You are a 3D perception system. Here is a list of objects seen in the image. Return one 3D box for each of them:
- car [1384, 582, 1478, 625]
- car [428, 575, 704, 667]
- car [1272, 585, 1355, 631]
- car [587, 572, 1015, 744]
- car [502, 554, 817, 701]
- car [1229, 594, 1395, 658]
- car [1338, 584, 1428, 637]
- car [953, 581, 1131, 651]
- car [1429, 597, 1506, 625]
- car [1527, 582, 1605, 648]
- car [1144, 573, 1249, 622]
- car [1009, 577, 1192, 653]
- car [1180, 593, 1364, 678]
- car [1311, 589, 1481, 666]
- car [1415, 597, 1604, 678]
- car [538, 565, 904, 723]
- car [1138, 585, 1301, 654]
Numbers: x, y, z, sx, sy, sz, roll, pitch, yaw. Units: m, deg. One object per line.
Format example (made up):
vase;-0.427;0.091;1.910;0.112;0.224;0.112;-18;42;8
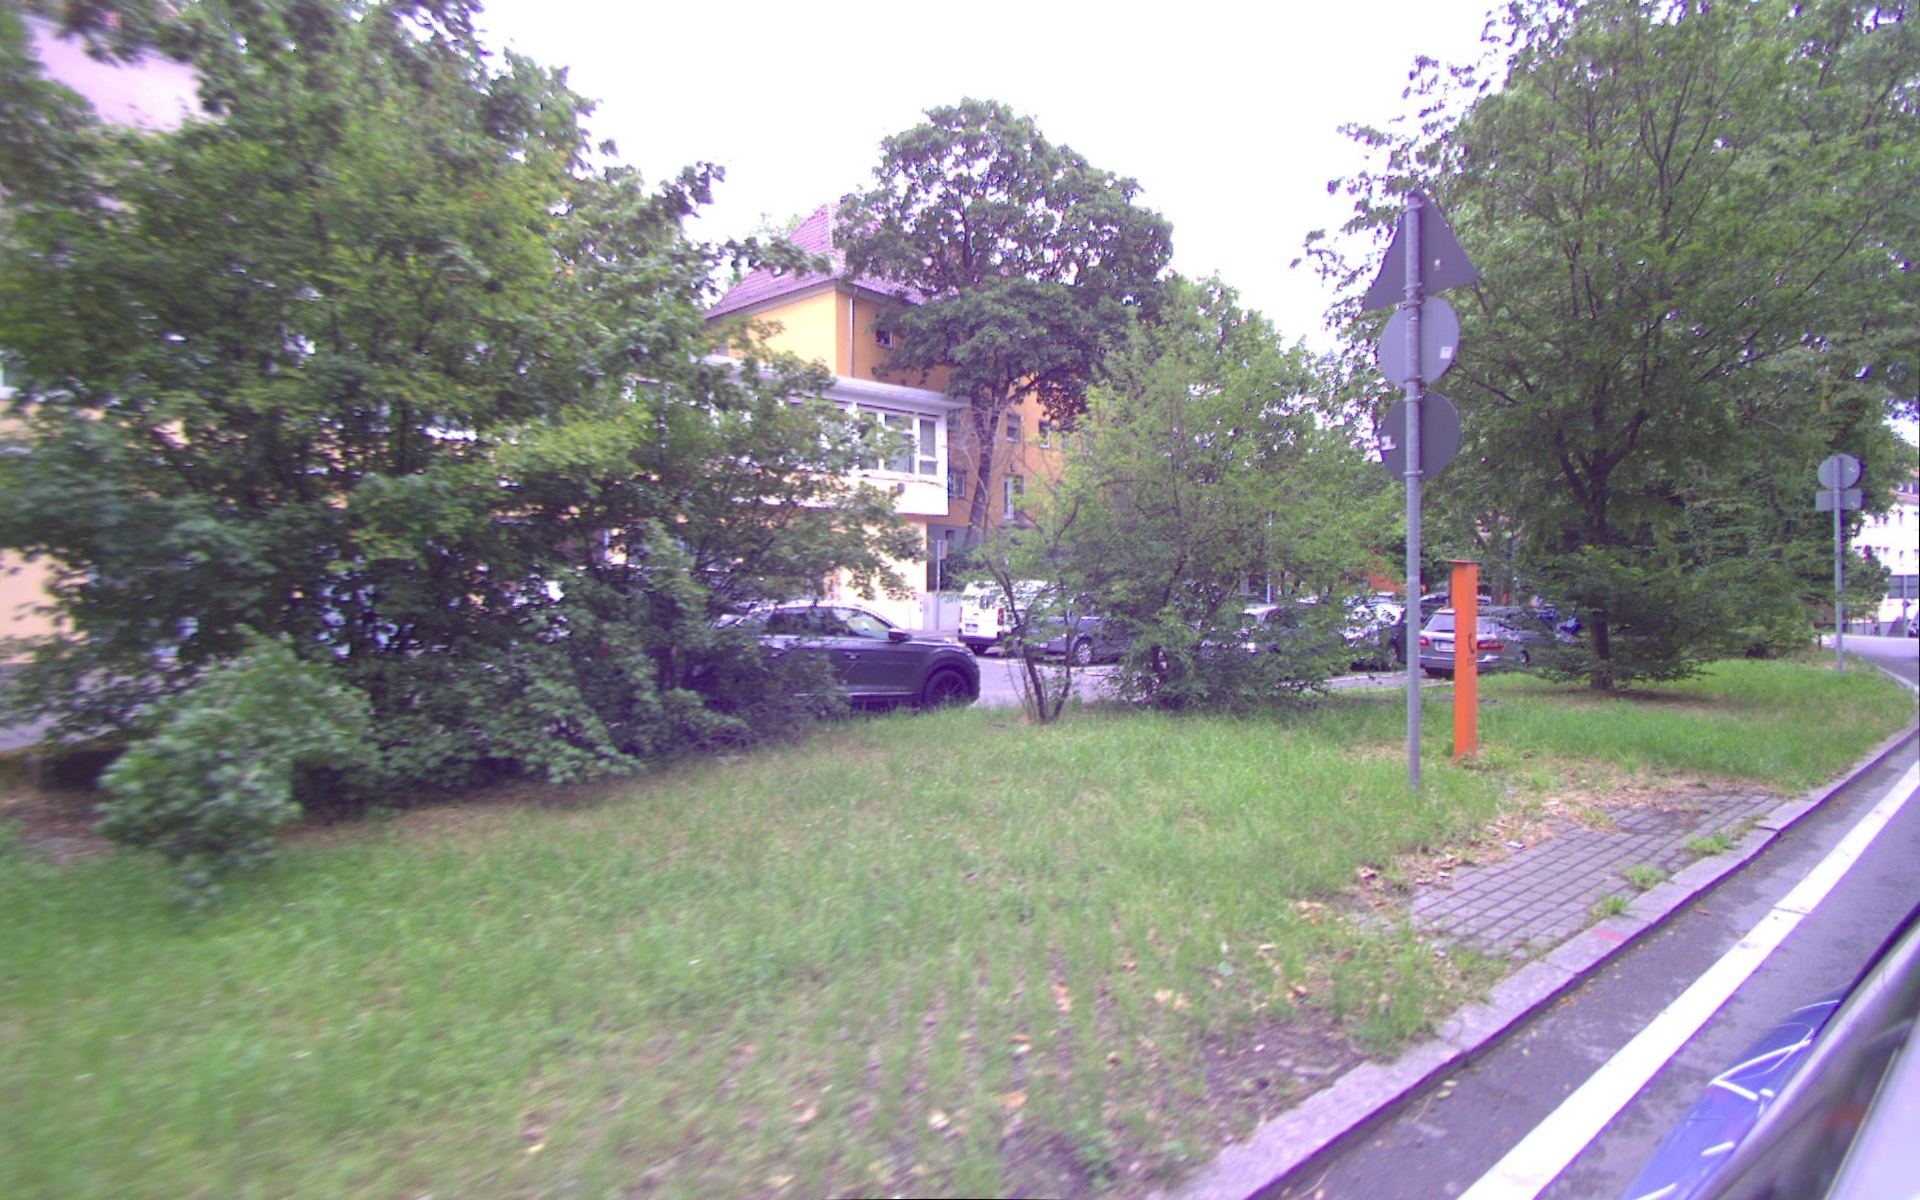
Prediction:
car;21.045;0.105;45.424;1.826;1.503;4.432;4;4;-3
car;-6.906;0.303;17.974;4.249;1.444;1.799;-1;0;-40
car;12.301;0.221;35.064;1.726;1.446;4.080;3;2;34
car;-1.804;0.554;12.235;4.791;1.686;1.816;0;2;-34
car;-4.700;0.362;16.205;4.481;2.040;1.860;-1;0;-40
car;8.601;0.578;24.536;4.513;1.396;1.788;0;1;-41
car;14.047;0.298;33.515;1.728;1.588;4.075;3;2;37
car;2.076;0.419;25.166;4.162;1.460;1.812;5;-2;-35
car;31.069;0.665;61.934;4.096;1.446;1.719;3;1;30
car;17.806;0.369;29.885;1.799;1.685;4.834;2;2;30
car;9.857;-0.160;42.028;4.520;1.909;1.997;-1;2;-41
car;3.247;0.352;23.164;3.929;1.460;1.812;5;-2;-35
car;6.230;0.630;20.038;3.831;1.460;1.747;-1;2;-41
car;10.001;0.570;23.051;4.513;1.578;1.788;0;1;-41
car;11.422;0.694;20.871;4.974;1.460;1.788;0;1;-41
car;-3.247;0.502;14.418;4.800;1.902;1.859;-1;0;-41
car;6.776;0.471;26.212;4.323;1.614;1.790;1;1;-37
